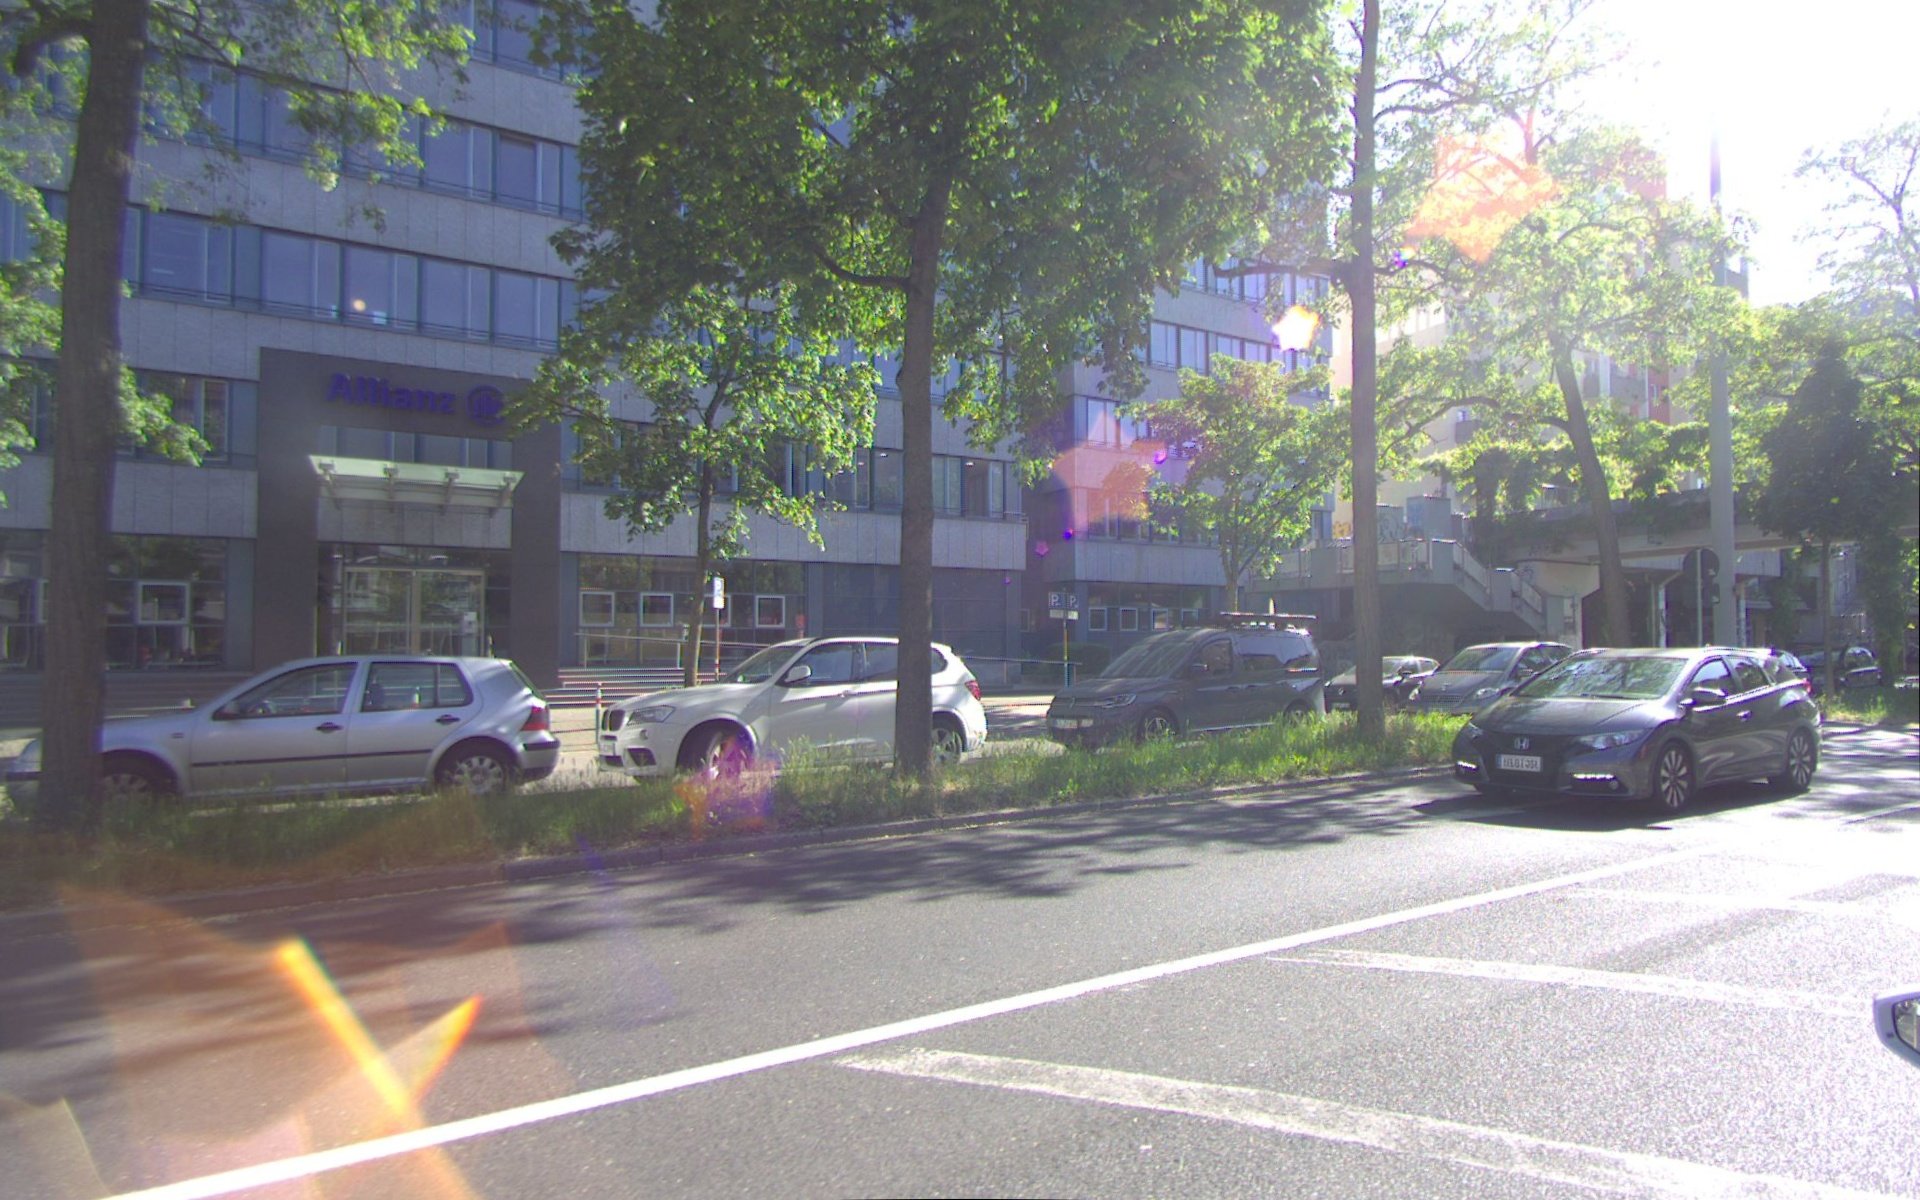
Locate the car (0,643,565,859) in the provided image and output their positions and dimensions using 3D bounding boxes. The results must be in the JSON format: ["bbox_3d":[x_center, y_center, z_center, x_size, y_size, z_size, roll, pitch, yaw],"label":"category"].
[{"bbox_3d":[-5.843,1.179,9.108,4.014,1.543,1.848,1,-2,-29],"label":"car"}]

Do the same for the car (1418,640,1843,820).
[{"bbox_3d":[6.811,1.172,10.123,4.268,1.458,1.848,1,-4,-30],"label":"car"}]

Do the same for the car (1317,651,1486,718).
[{"bbox_3d":[11.251,2.085,25.548,4.270,1.543,1.846,1,-3,-32],"label":"car"}]

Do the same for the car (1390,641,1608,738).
[{"bbox_3d":[9.980,1.565,18.576,3.826,1.589,1.847,1,-2,-30],"label":"car"}]

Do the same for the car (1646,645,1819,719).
[{"bbox_3d":[18.156,1.854,23.571,4.270,1.543,1.846,1,-2,-32],"label":"car"}]

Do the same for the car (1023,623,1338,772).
[{"bbox_3d":[3.285,1.290,14.655,4.510,1.874,1.846,1,-2,-32],"label":"car"}]

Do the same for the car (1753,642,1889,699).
[{"bbox_3d":[21.856,1.734,25.487,3.542,1.324,1.624,1,-2,-32],"label":"car"}]

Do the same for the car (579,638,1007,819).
[{"bbox_3d":[-1.810,1.307,11.724,4.620,1.706,1.843,1,-2,-36],"label":"car"}]
